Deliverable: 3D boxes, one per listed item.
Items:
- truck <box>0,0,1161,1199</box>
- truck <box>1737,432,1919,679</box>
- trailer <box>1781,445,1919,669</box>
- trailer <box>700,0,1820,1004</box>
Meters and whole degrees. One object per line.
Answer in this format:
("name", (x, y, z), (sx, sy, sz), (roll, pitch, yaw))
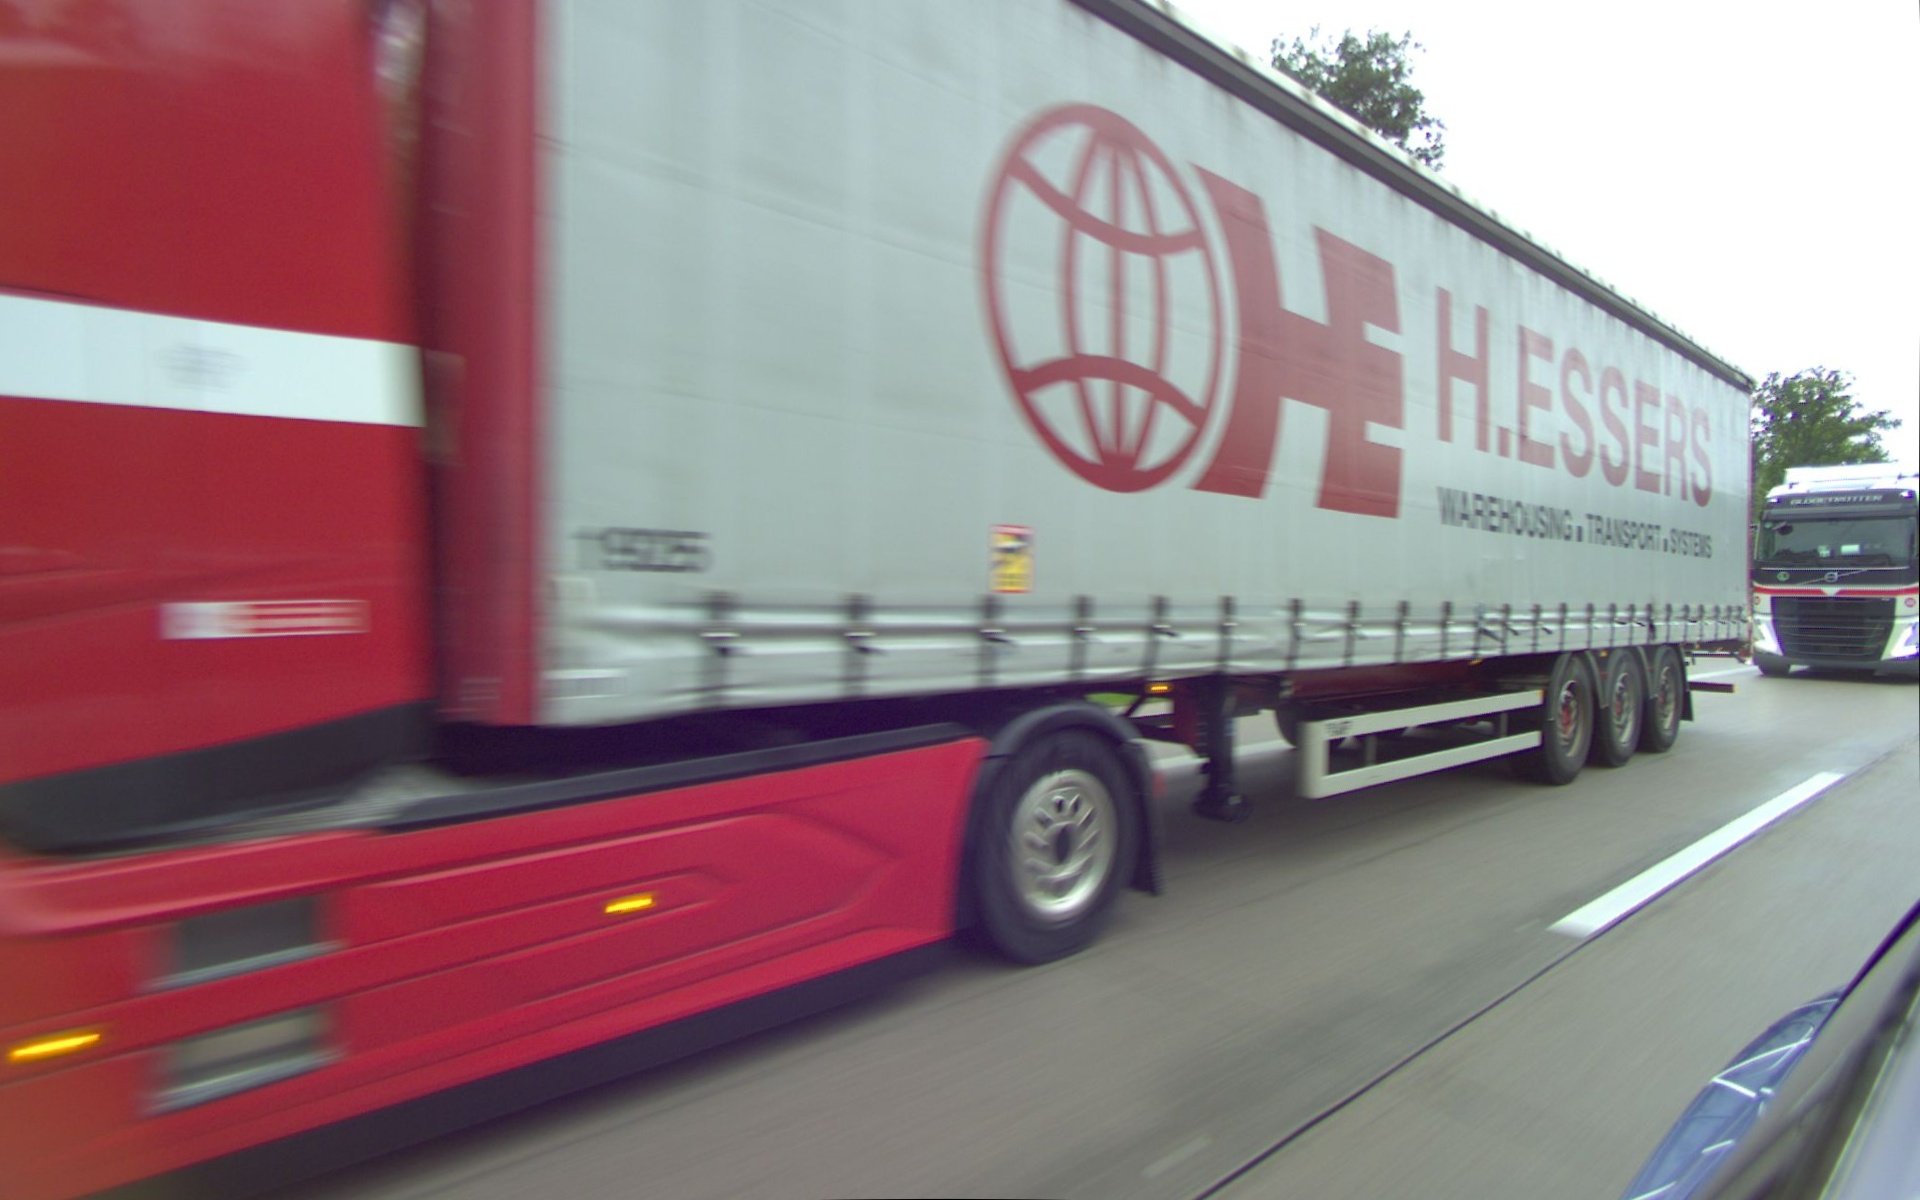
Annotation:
("truck", (-2.258, -0.654, 2.983), (6.051, 4.004, 2.379), (1, 0, -41))
("truck", (17.775, -0.761, 19.676), (5.857, 4.156, 2.806), (0, 0, -37))
("trailer", (22.629, -0.825, 23.465), (13.433, 4.155, 2.741), (0, 0, -38))
("trailer", (4.125, -0.634, 8.335), (12.296, 4.003, 2.376), (0, 1, -40))
